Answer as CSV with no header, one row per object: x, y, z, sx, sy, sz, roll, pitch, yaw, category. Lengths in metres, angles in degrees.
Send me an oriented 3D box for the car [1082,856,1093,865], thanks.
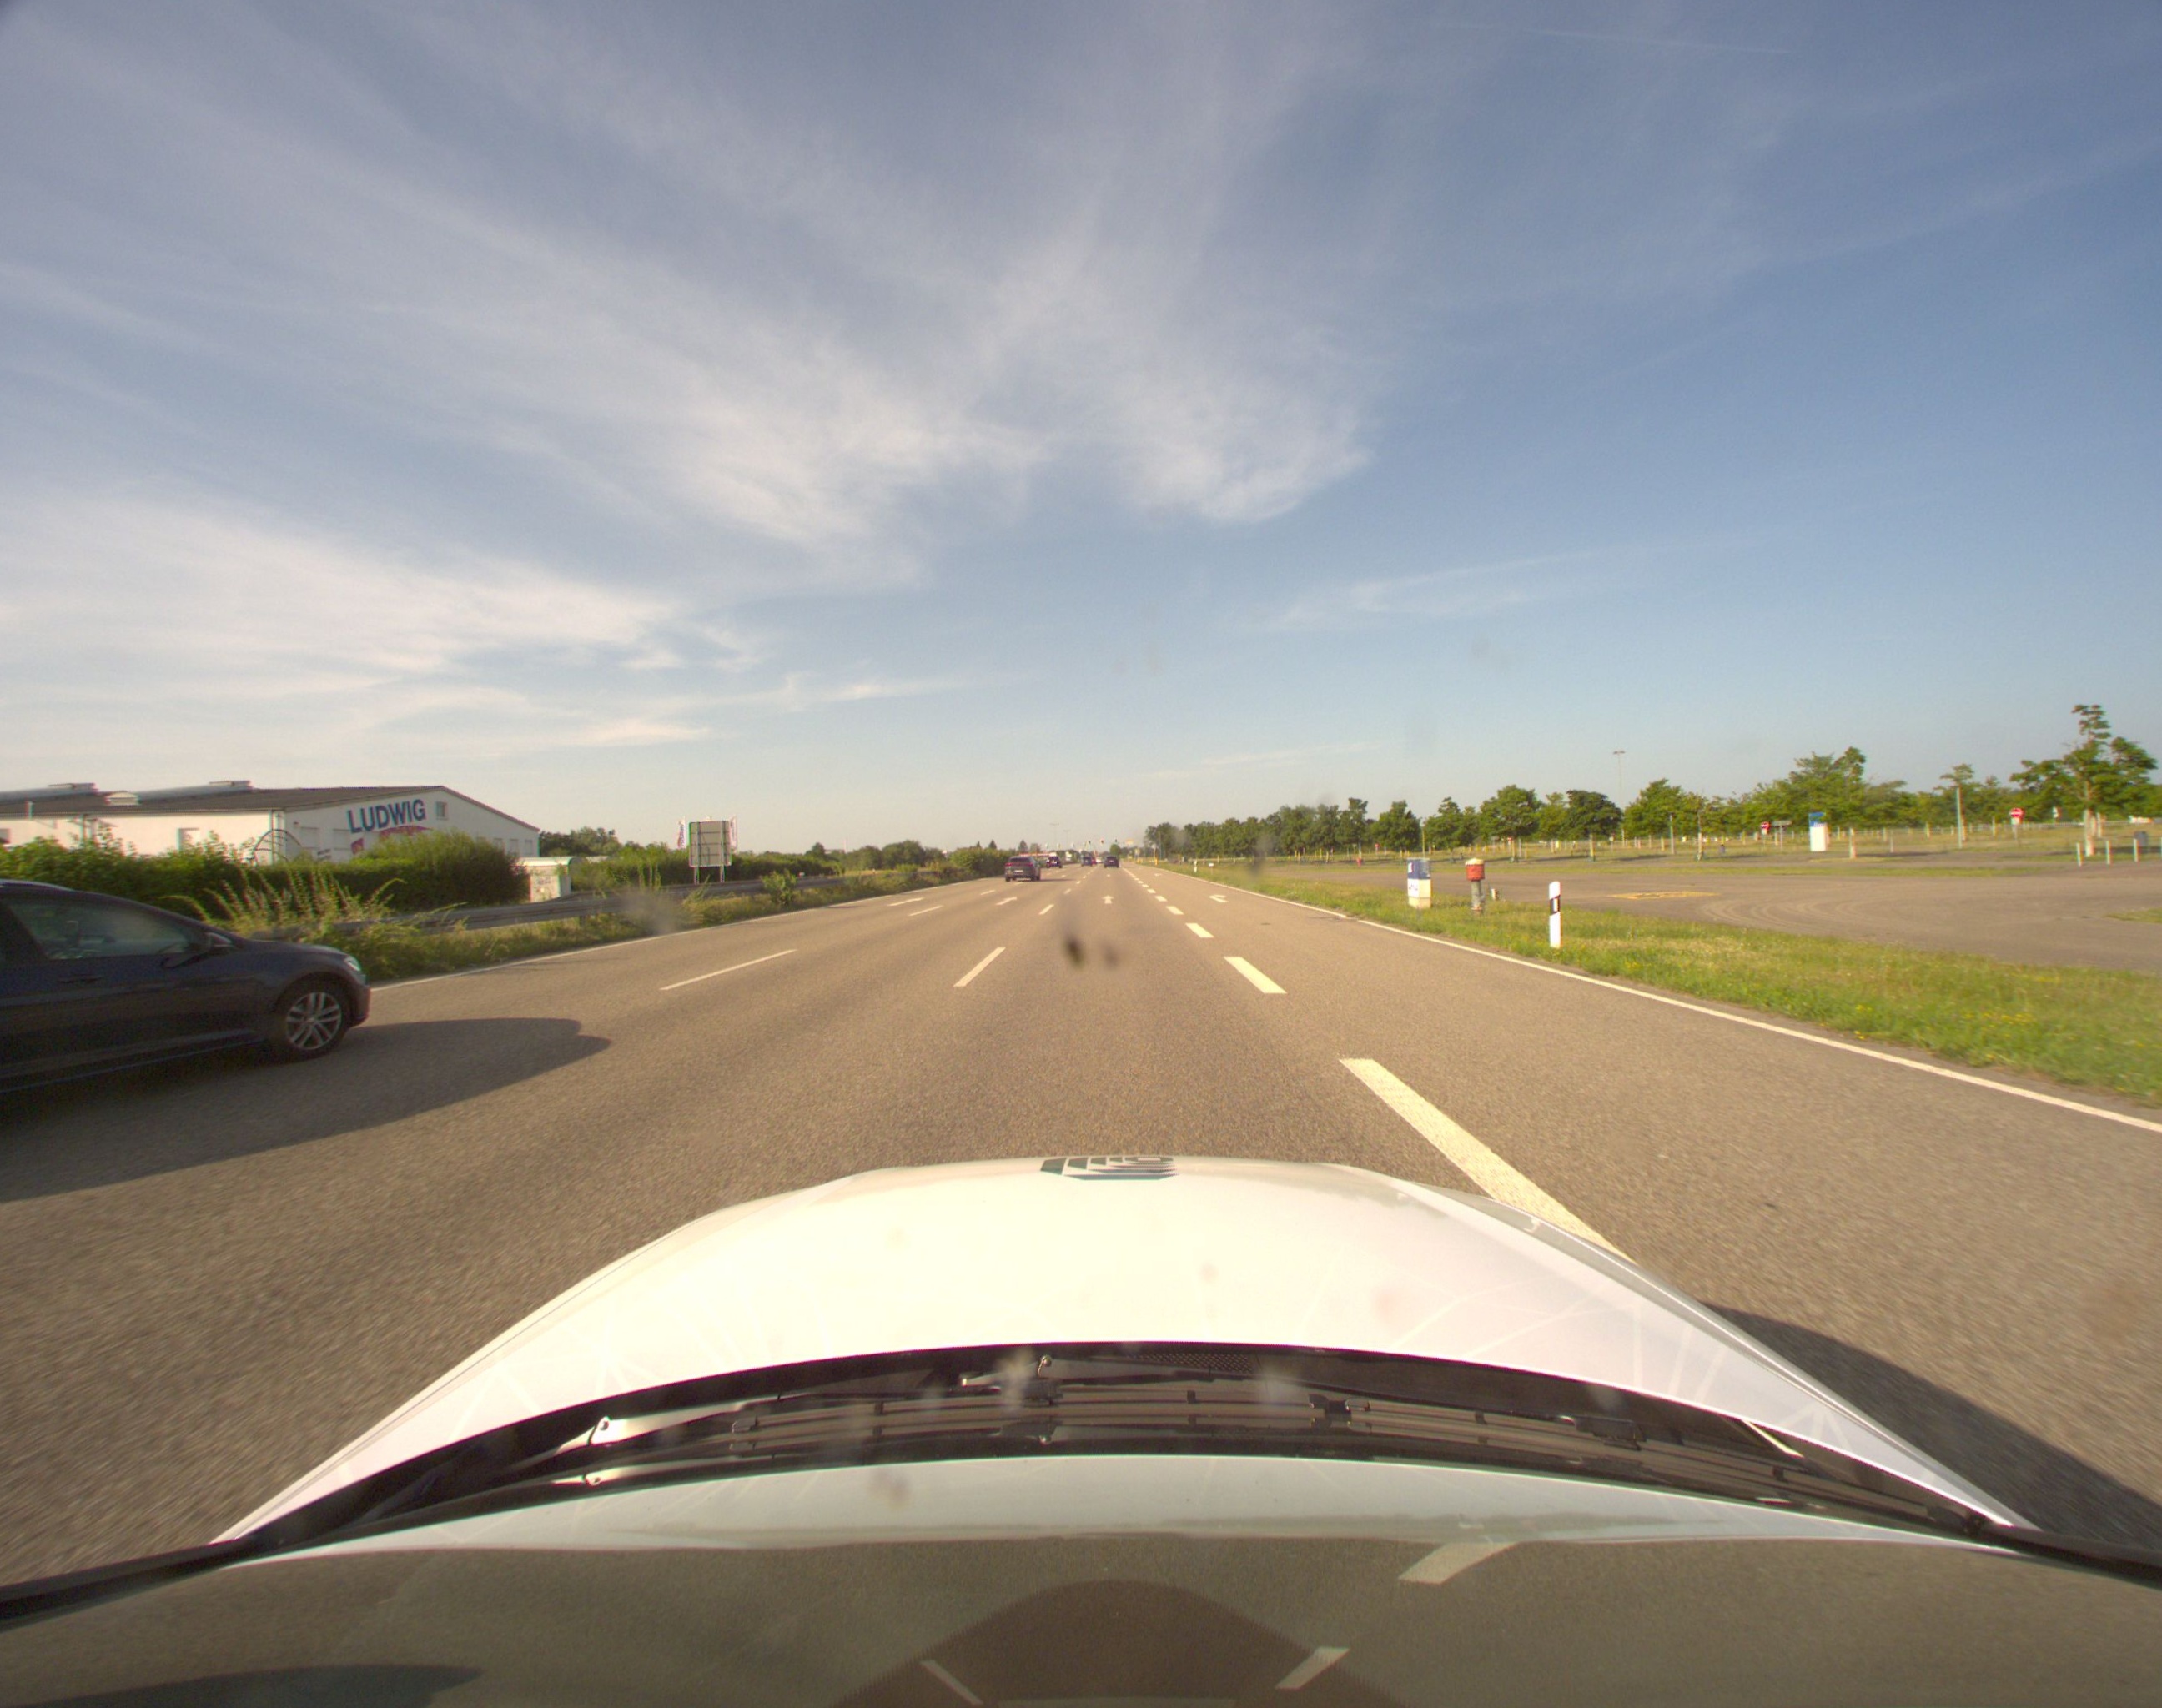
1.075,1.020,133.299,1.806,1.463,4.402,0,0,2,car

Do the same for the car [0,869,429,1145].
-6.790,0.898,4.954,1.640,1.471,4.778,-2,0,2,car

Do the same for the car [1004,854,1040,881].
-3.680,0.825,51.448,1.839,1.612,4.402,0,0,2,car

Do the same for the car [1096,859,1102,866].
4.499,2.085,203.410,1.639,1.728,3.402,-1,-1,1,car

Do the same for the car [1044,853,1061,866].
-3.817,0.745,109.640,1.925,1.680,4.402,0,0,2,car

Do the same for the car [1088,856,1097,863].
2.299,1.095,160.329,1.641,1.463,3.982,0,0,2,car

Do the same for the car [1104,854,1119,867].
4.045,0.787,107.774,1.925,1.680,4.402,0,0,2,car
